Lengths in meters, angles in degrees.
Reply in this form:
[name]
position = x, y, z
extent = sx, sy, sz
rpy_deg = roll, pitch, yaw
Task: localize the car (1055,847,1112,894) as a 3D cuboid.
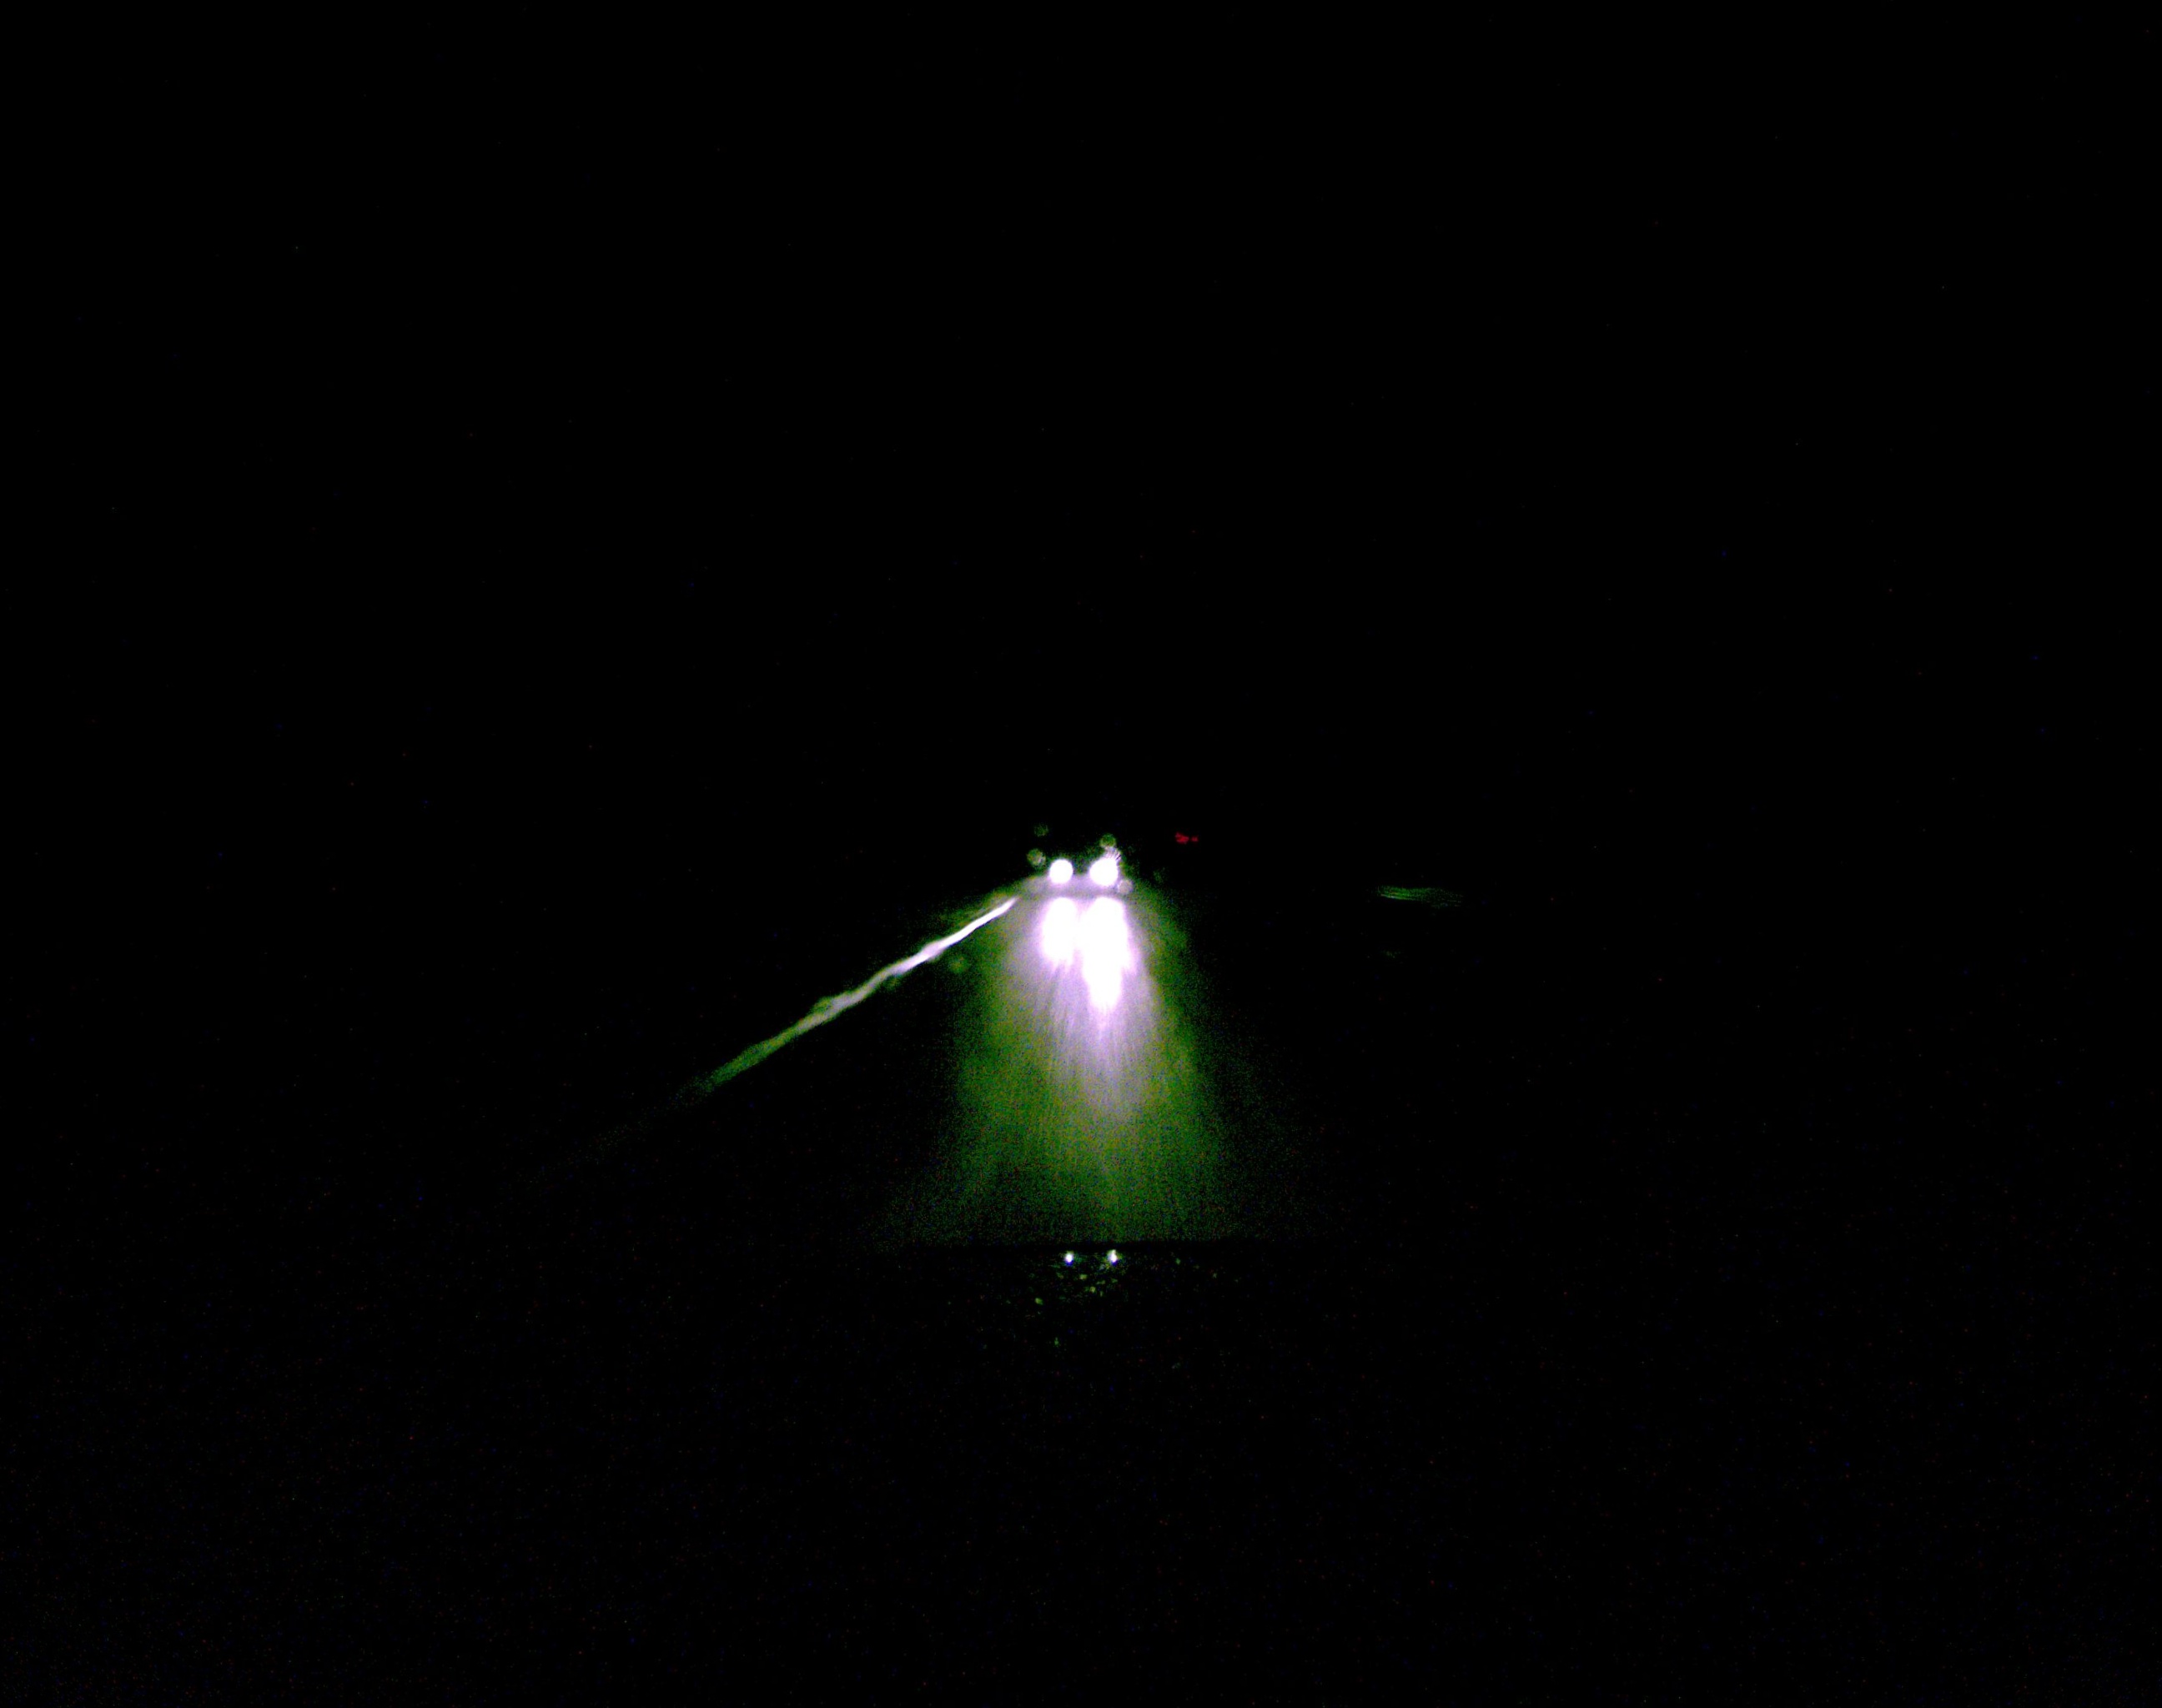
[car]
position = 0.153, 0.606, 29.151
extent = 1.792, 1.593, 4.002
rpy_deg = -3, 0, 5
